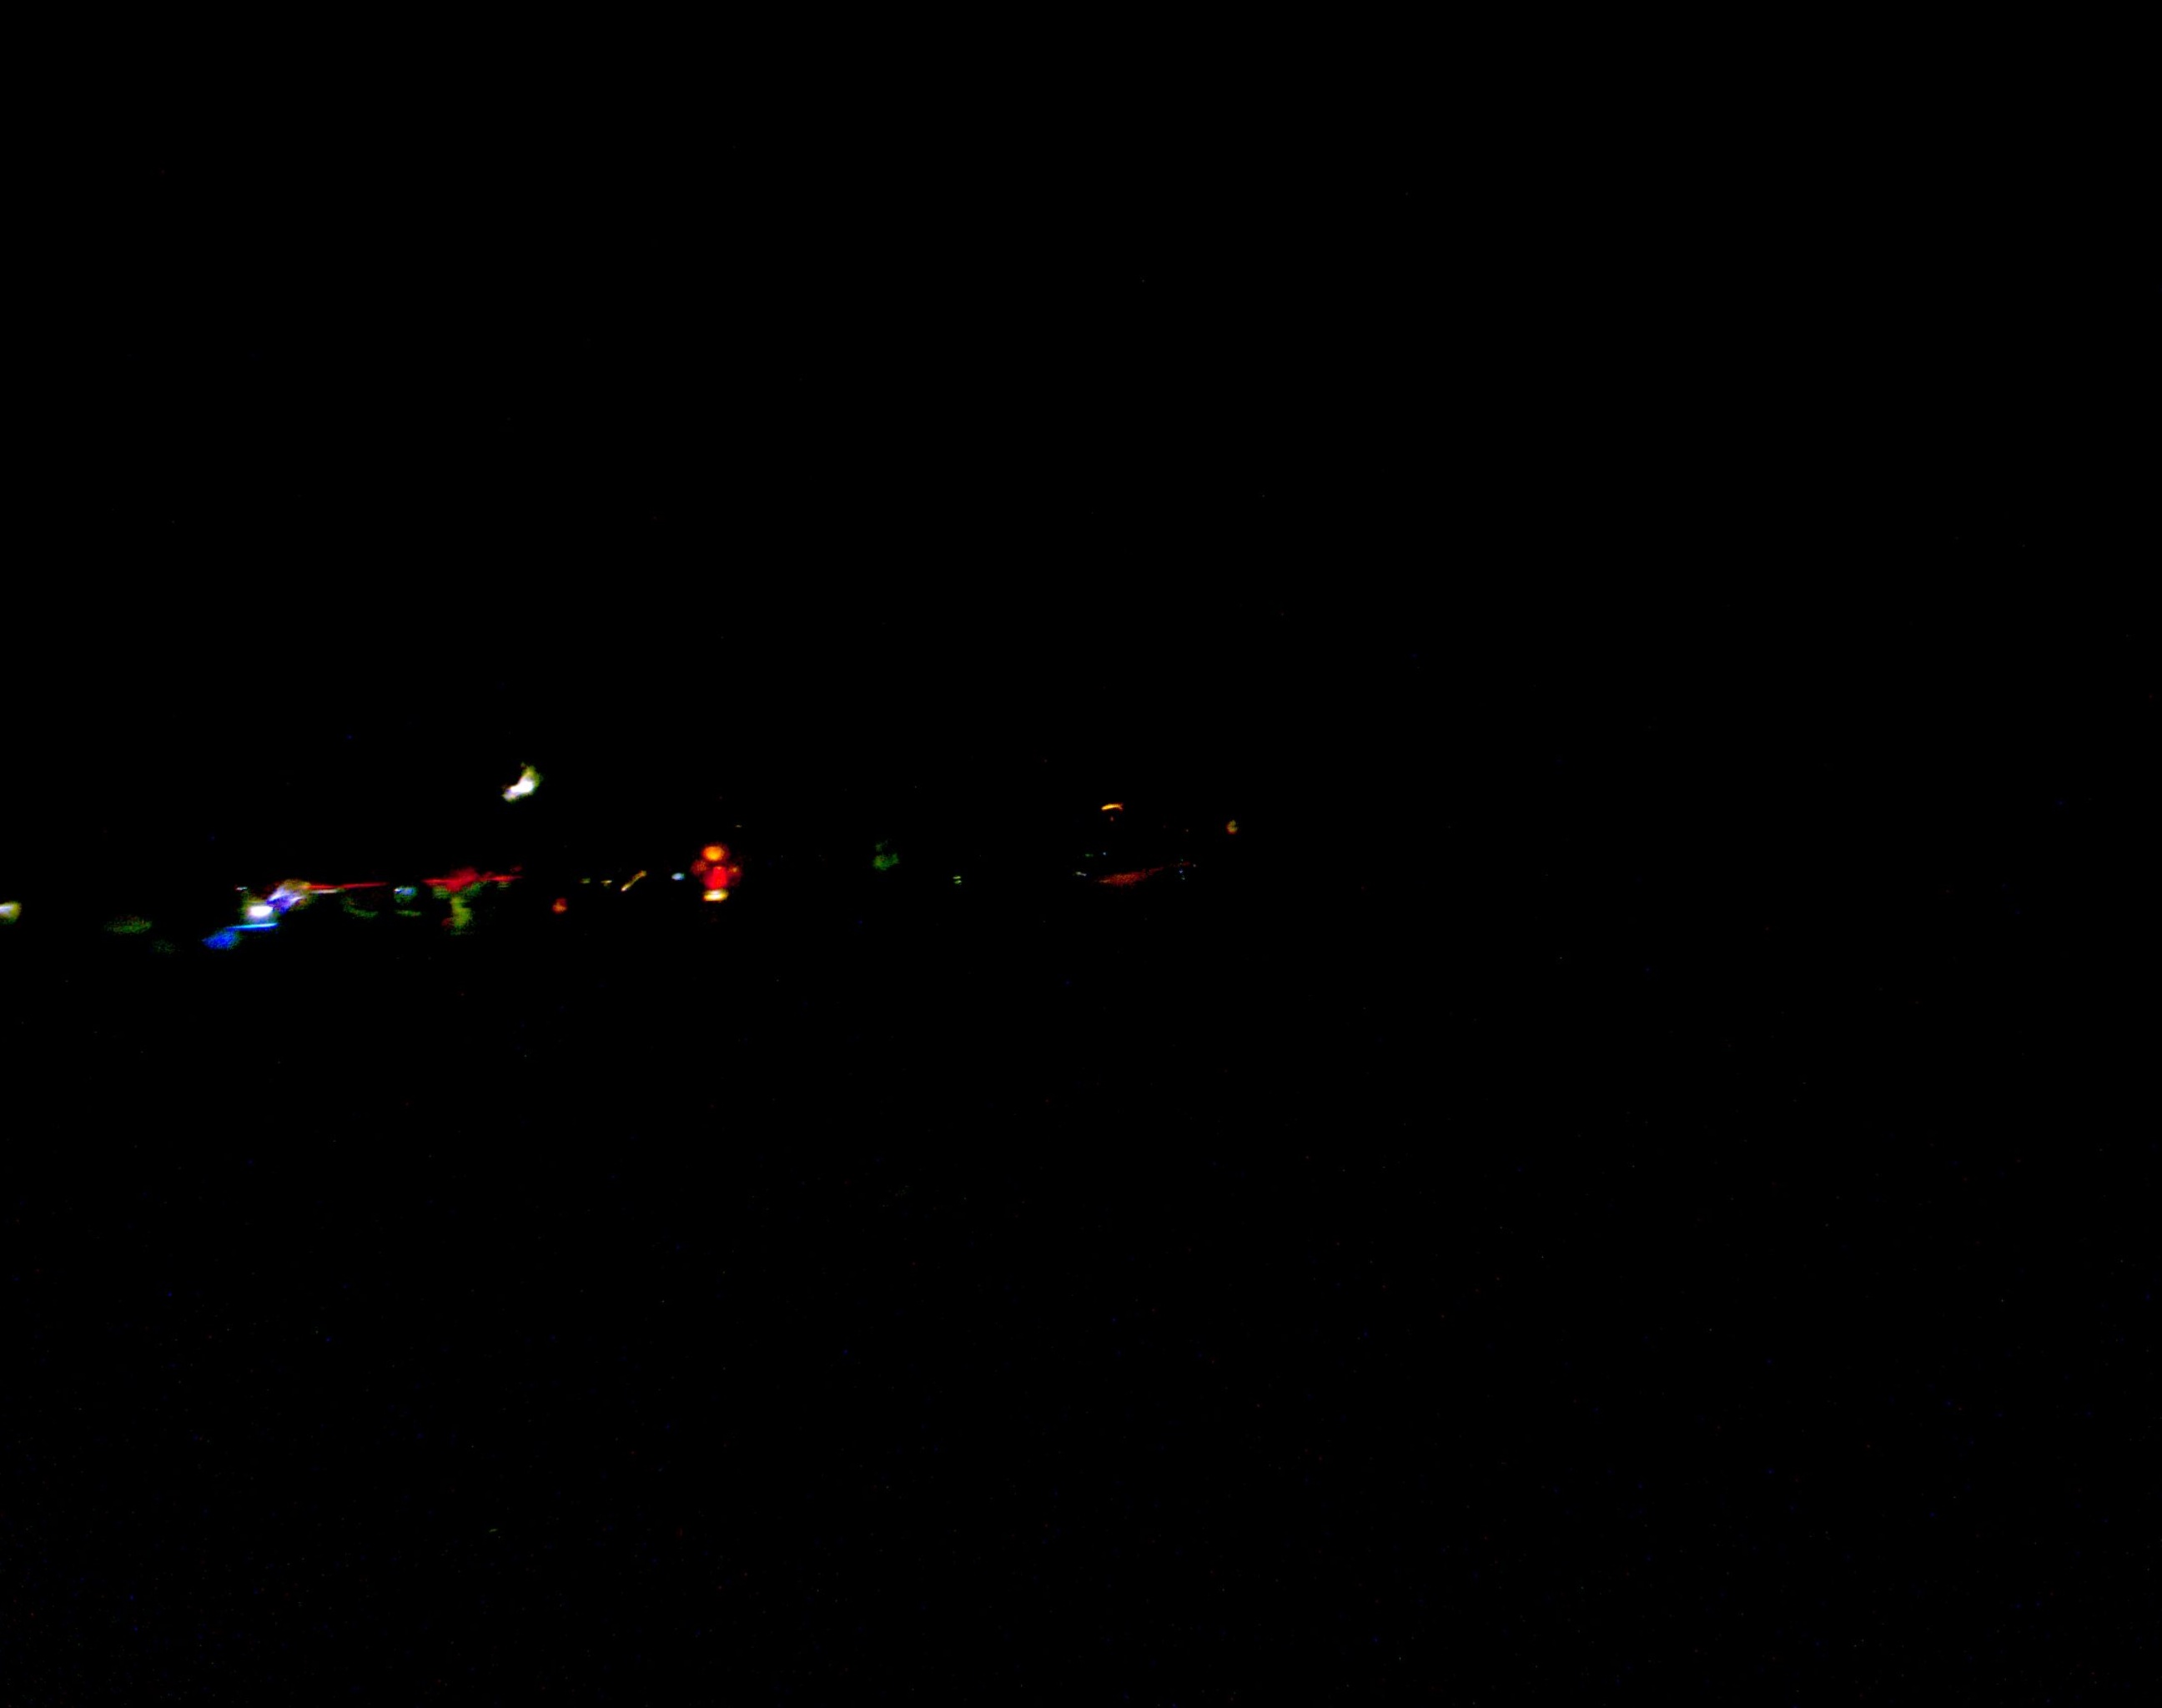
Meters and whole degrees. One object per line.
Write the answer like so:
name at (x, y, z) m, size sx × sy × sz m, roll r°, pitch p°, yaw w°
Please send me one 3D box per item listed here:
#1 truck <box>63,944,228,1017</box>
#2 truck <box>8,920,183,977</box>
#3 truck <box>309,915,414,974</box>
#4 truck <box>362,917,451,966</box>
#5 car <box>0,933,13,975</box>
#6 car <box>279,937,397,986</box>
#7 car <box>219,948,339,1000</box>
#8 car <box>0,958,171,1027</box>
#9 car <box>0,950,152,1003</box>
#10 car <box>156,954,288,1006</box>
truck at (-41.858, 5.588, 36.640) m, size 1.768 × 2.444 × 4.812 m, roll -7°, pitch -1°, yaw -3°
truck at (-53.980, 5.074, 44.899) m, size 2.318 × 2.463 × 6.474 m, roll -1°, pitch -1°, yaw -8°
truck at (-46.961, 5.803, 53.377) m, size 2.000 × 3.175 × 5.697 m, roll -7°, pitch -1°, yaw -7°
truck at (-44.132, 5.663, 53.467) m, size 1.770 × 2.631 × 5.164 m, roll -7°, pitch -1°, yaw -7°
car at (-59.600, 5.437, 42.398) m, size 1.987 × 2.265 × 4.458 m, roll -1°, pitch -1°, yaw 1°
car at (-34.261, 4.904, 37.724) m, size 1.768 × 1.595 × 3.995 m, roll -7°, pitch -1°, yaw -3°
car at (-36.743, 5.452, 37.450) m, size 1.768 × 1.693 × 3.746 m, roll -7°, pitch -1°, yaw -3°
car at (-33.251, 4.579, 27.233) m, size 1.744 × 1.618 × 3.506 m, roll -6°, pitch -1°, yaw -6°
car at (-44.543, 5.396, 36.260) m, size 1.768 × 1.595 × 3.995 m, roll -7°, pitch -1°, yaw -3°
car at (-39.116, 5.708, 37.249) m, size 1.768 × 1.595 × 3.995 m, roll -7°, pitch -1°, yaw -3°
